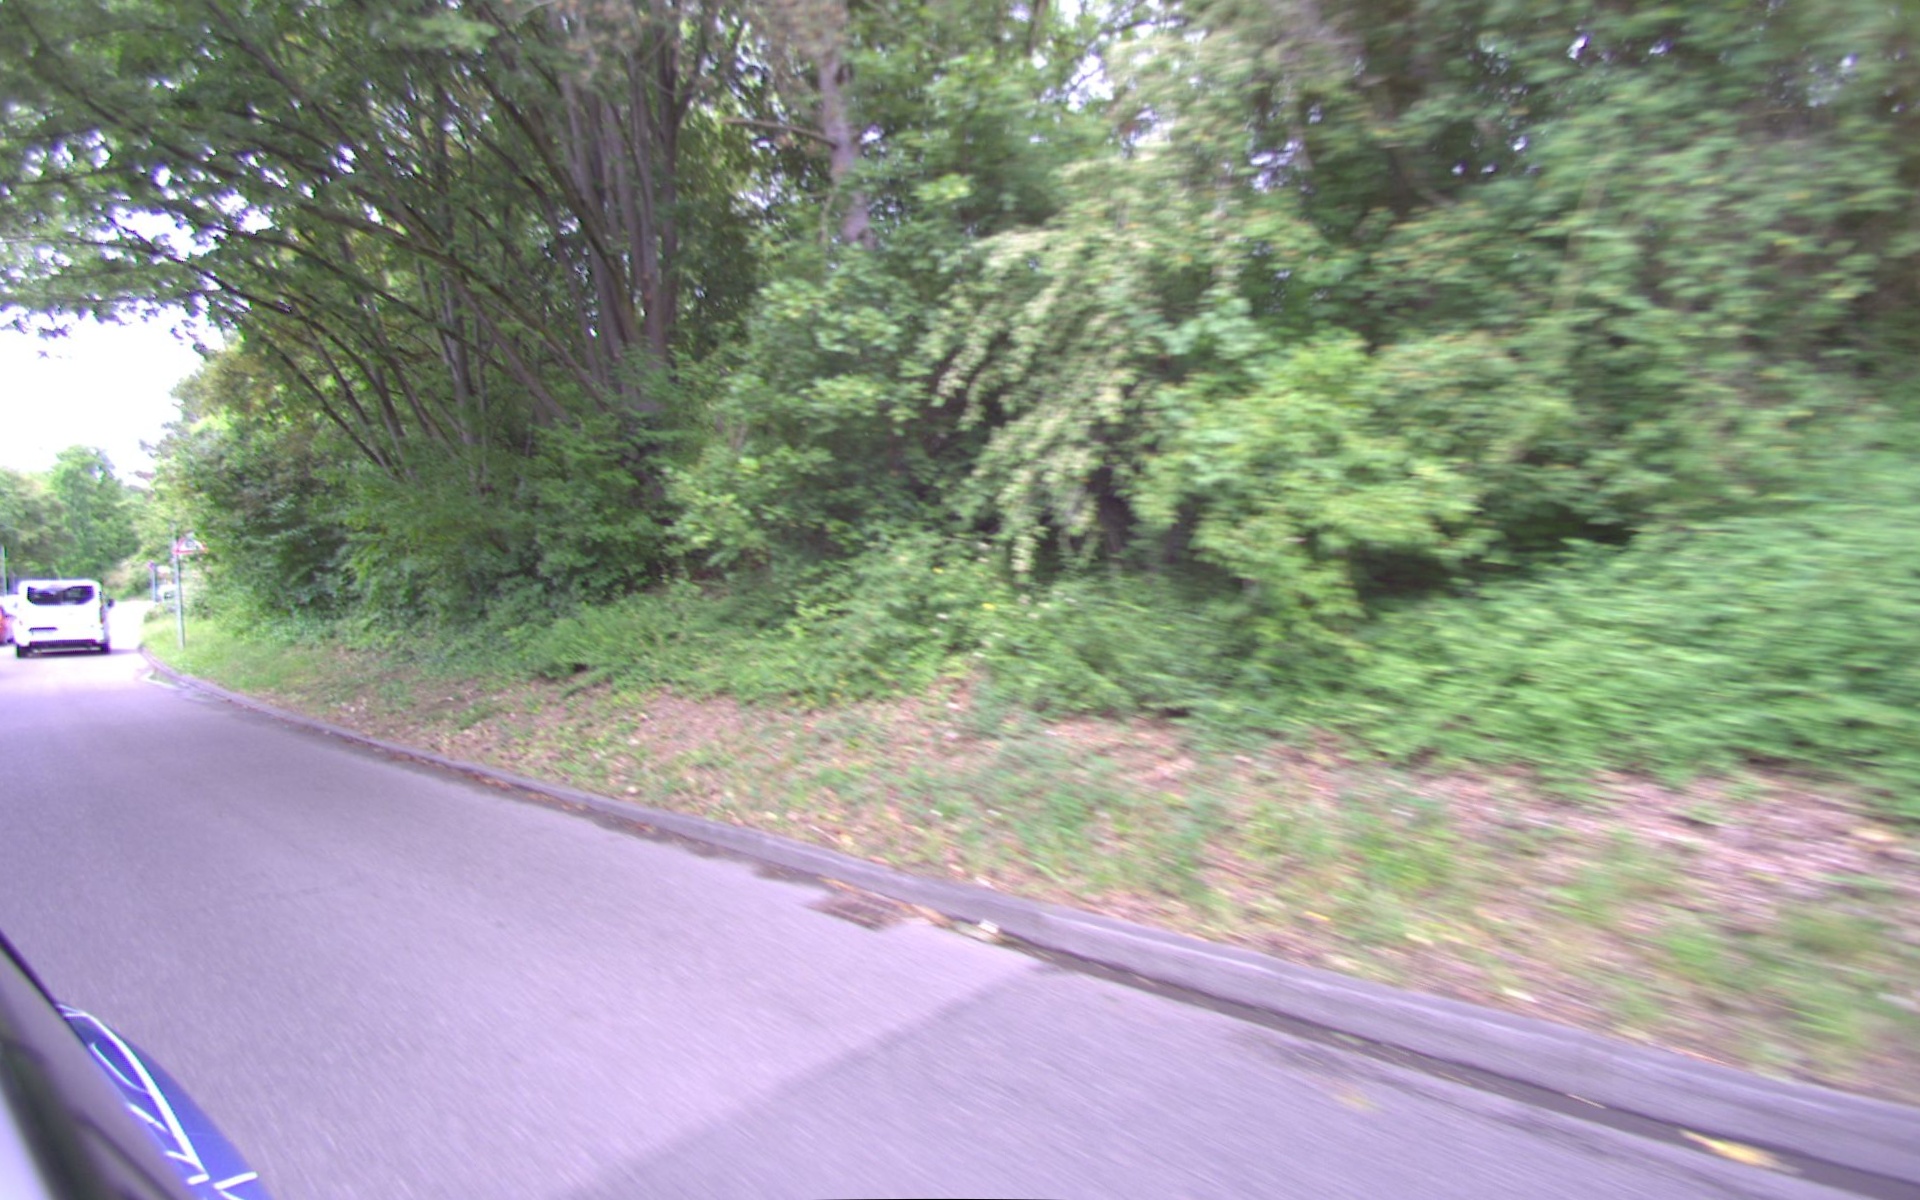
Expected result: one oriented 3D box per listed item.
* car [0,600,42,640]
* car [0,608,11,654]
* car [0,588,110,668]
[{"bbox_3d":[-41.729,0.875,44.428,1.894,1.694,4.007,1,-2,-40],"label":"car"},{"bbox_3d":[-32.435,1.049,33.073,1.839,1.460,4.182,-2,0,-40],"label":"car"},{"bbox_3d":[-24.942,0.678,27.970,2.117,2.029,4.008,-1,1,-39],"label":"car"}]
